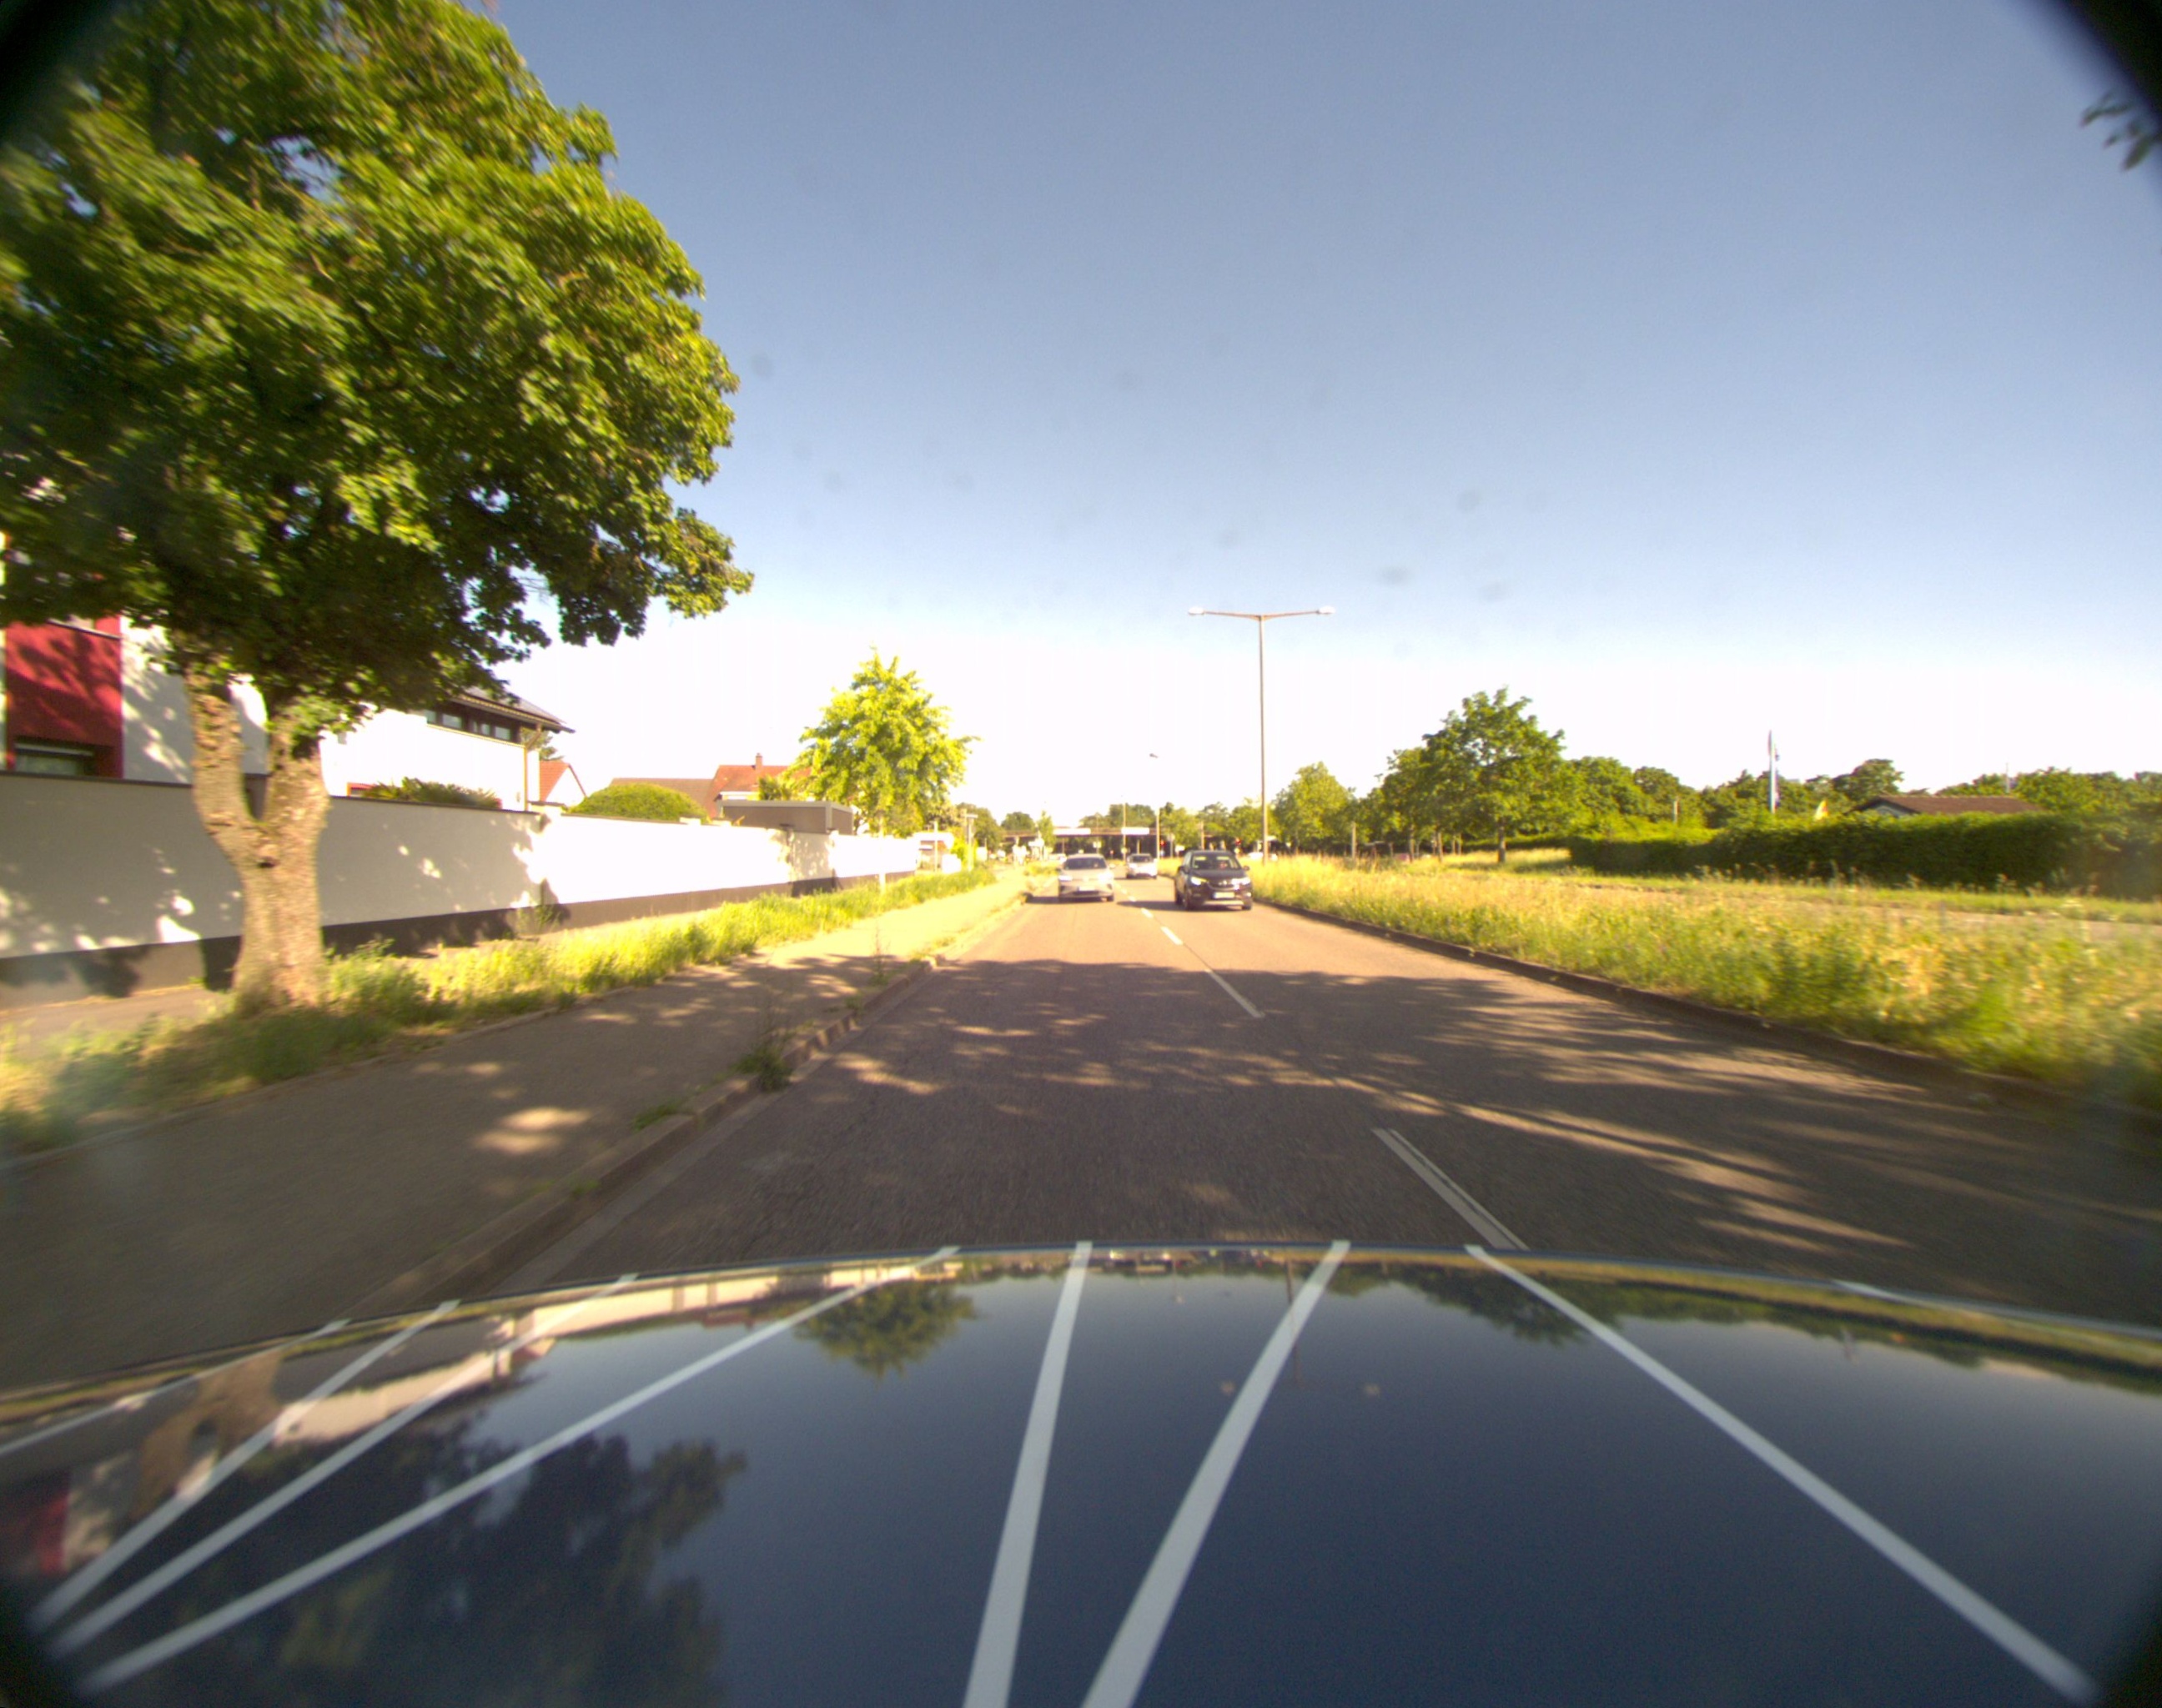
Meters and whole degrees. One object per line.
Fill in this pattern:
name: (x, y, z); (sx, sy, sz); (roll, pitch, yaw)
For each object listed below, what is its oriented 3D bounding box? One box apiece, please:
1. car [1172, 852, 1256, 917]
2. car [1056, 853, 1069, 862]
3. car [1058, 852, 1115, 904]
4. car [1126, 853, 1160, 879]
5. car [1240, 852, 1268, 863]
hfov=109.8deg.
car: (3.669, 0.784, 21.534); (1.714, 1.653, 3.856); (0, 0, 0)
car: (-3.469, 0.660, 142.663); (1.874, 1.611, 3.833); (-1, 0, -8)
car: (0.240, 0.784, 26.669); (1.801, 1.664, 4.240); (-1, 0, 1)
car: (3.901, 0.729, 48.191); (1.830, 1.604, 4.092); (-1, 0, 0)
car: (28.330, 0.626, 124.500); (4.000, 1.744, 1.776); (-1, 0, -8)
